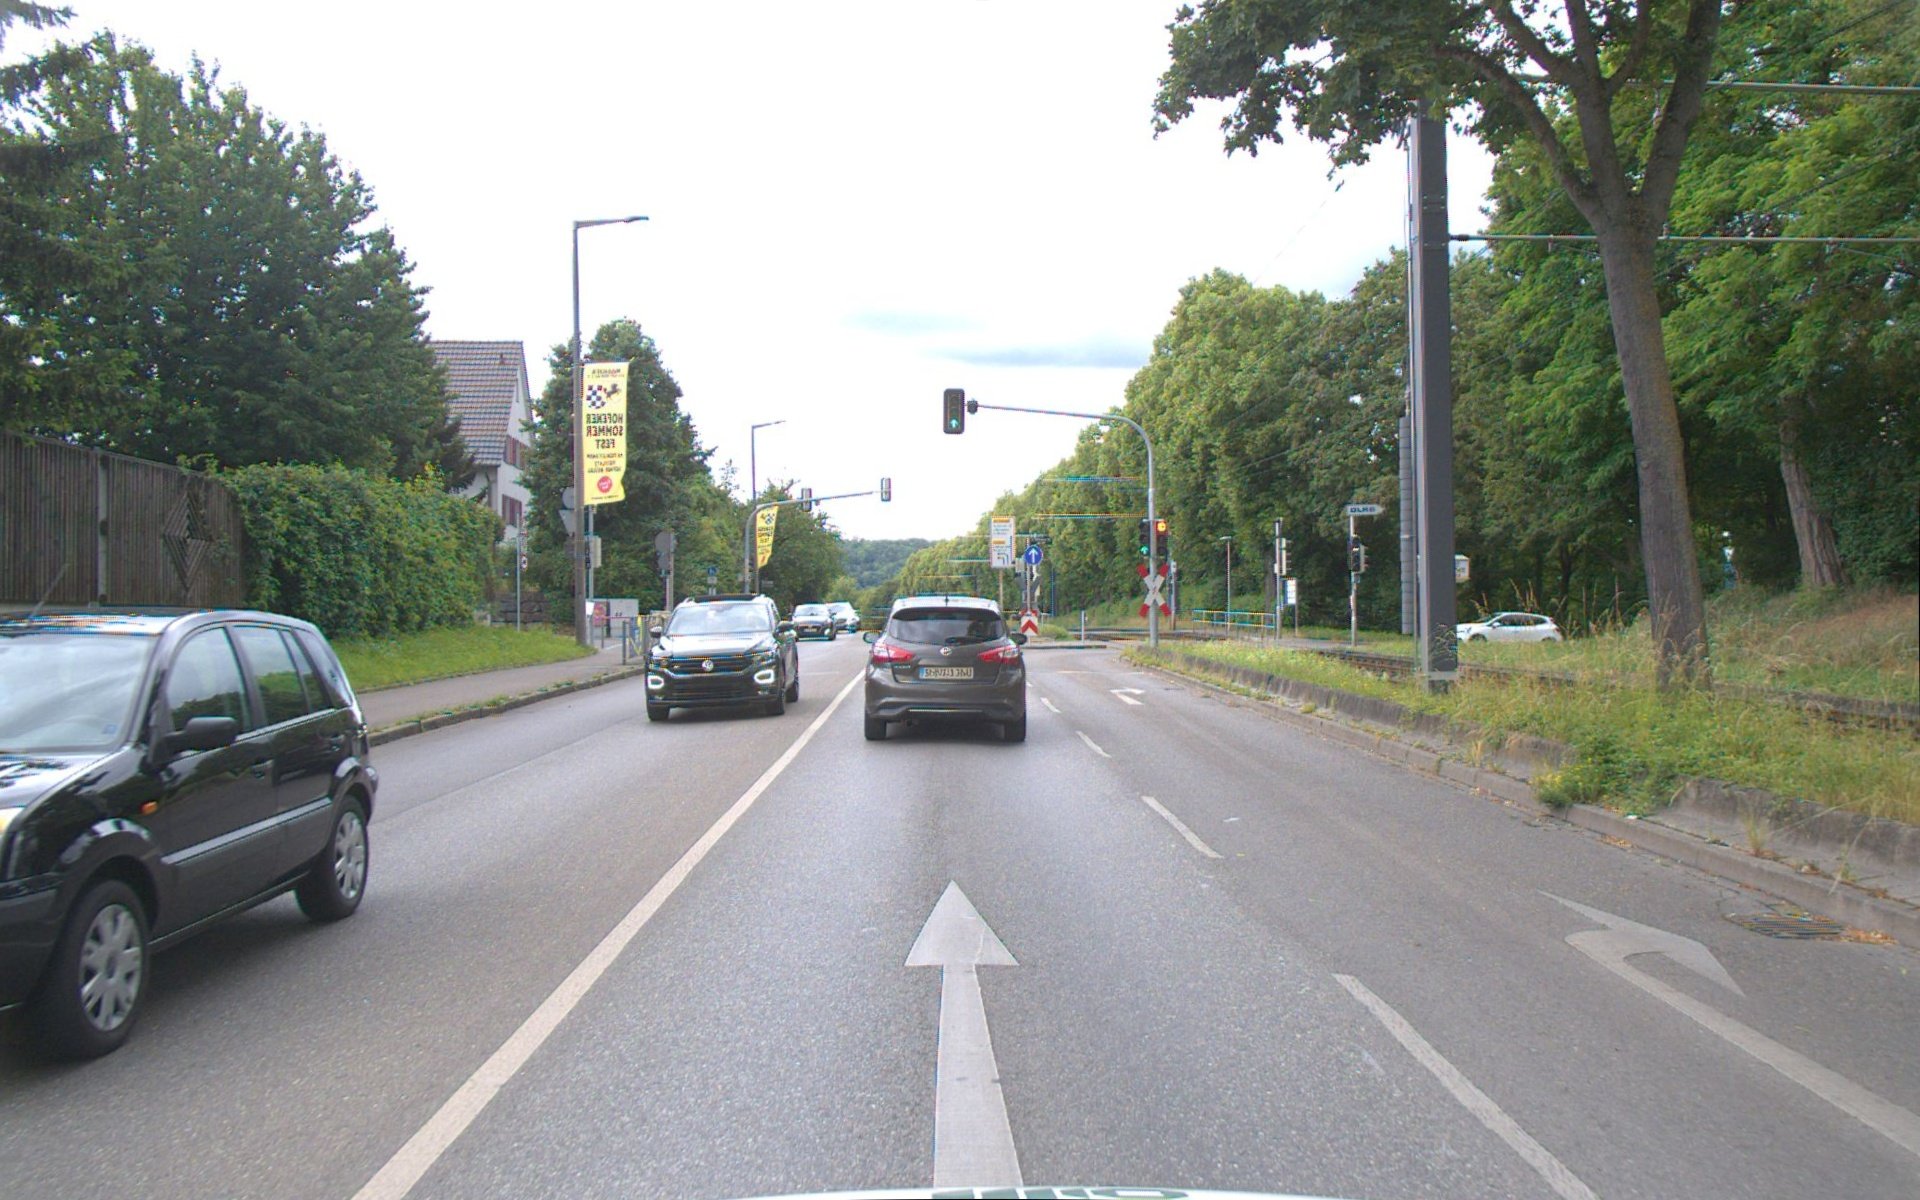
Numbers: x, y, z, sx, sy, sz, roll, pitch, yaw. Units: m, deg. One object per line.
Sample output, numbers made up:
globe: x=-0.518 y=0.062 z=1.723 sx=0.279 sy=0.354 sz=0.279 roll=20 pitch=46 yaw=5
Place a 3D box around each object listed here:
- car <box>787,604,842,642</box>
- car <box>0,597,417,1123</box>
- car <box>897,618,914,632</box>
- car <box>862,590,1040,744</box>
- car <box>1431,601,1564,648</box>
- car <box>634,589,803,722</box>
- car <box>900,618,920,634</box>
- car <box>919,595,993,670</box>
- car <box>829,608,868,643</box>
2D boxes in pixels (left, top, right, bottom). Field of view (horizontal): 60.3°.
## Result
car: x=-5.761 y=0.889 z=65.892 sx=1.775 sy=1.396 sz=4.160 roll=3 pitch=0 yaw=0
car: x=-3.665 y=0.778 z=6.765 sx=1.610 sy=1.507 sz=4.105 roll=-2 pitch=0 yaw=-2
car: x=-5.619 y=2.515 z=169.707 sx=1.707 sy=1.333 sz=3.998 roll=1 pitch=0 yaw=-3
car: x=-0.109 y=0.674 z=19.168 sx=1.798 sy=1.545 sz=4.482 roll=1 pitch=0 yaw=-1
car: x=18.690 y=0.856 z=57.596 sx=3.911 sy=1.377 sz=1.997 roll=3 pitch=0 yaw=-7
car: x=-3.159 y=0.677 z=22.385 sx=1.776 sy=1.550 sz=4.175 roll=-2 pitch=0 yaw=-2
car: x=-4.506 y=2.367 z=149.392 sx=1.707 sy=1.333 sz=3.998 roll=1 pitch=0 yaw=-3
car: x=-0.101 y=0.671 z=36.151 sx=1.507 sy=1.504 sz=3.763 roll=-2 pitch=0 yaw=-1
car: x=-5.473 y=1.238 z=81.727 sx=1.782 sy=1.594 sz=5.202 roll=1 pitch=0 yaw=-3
